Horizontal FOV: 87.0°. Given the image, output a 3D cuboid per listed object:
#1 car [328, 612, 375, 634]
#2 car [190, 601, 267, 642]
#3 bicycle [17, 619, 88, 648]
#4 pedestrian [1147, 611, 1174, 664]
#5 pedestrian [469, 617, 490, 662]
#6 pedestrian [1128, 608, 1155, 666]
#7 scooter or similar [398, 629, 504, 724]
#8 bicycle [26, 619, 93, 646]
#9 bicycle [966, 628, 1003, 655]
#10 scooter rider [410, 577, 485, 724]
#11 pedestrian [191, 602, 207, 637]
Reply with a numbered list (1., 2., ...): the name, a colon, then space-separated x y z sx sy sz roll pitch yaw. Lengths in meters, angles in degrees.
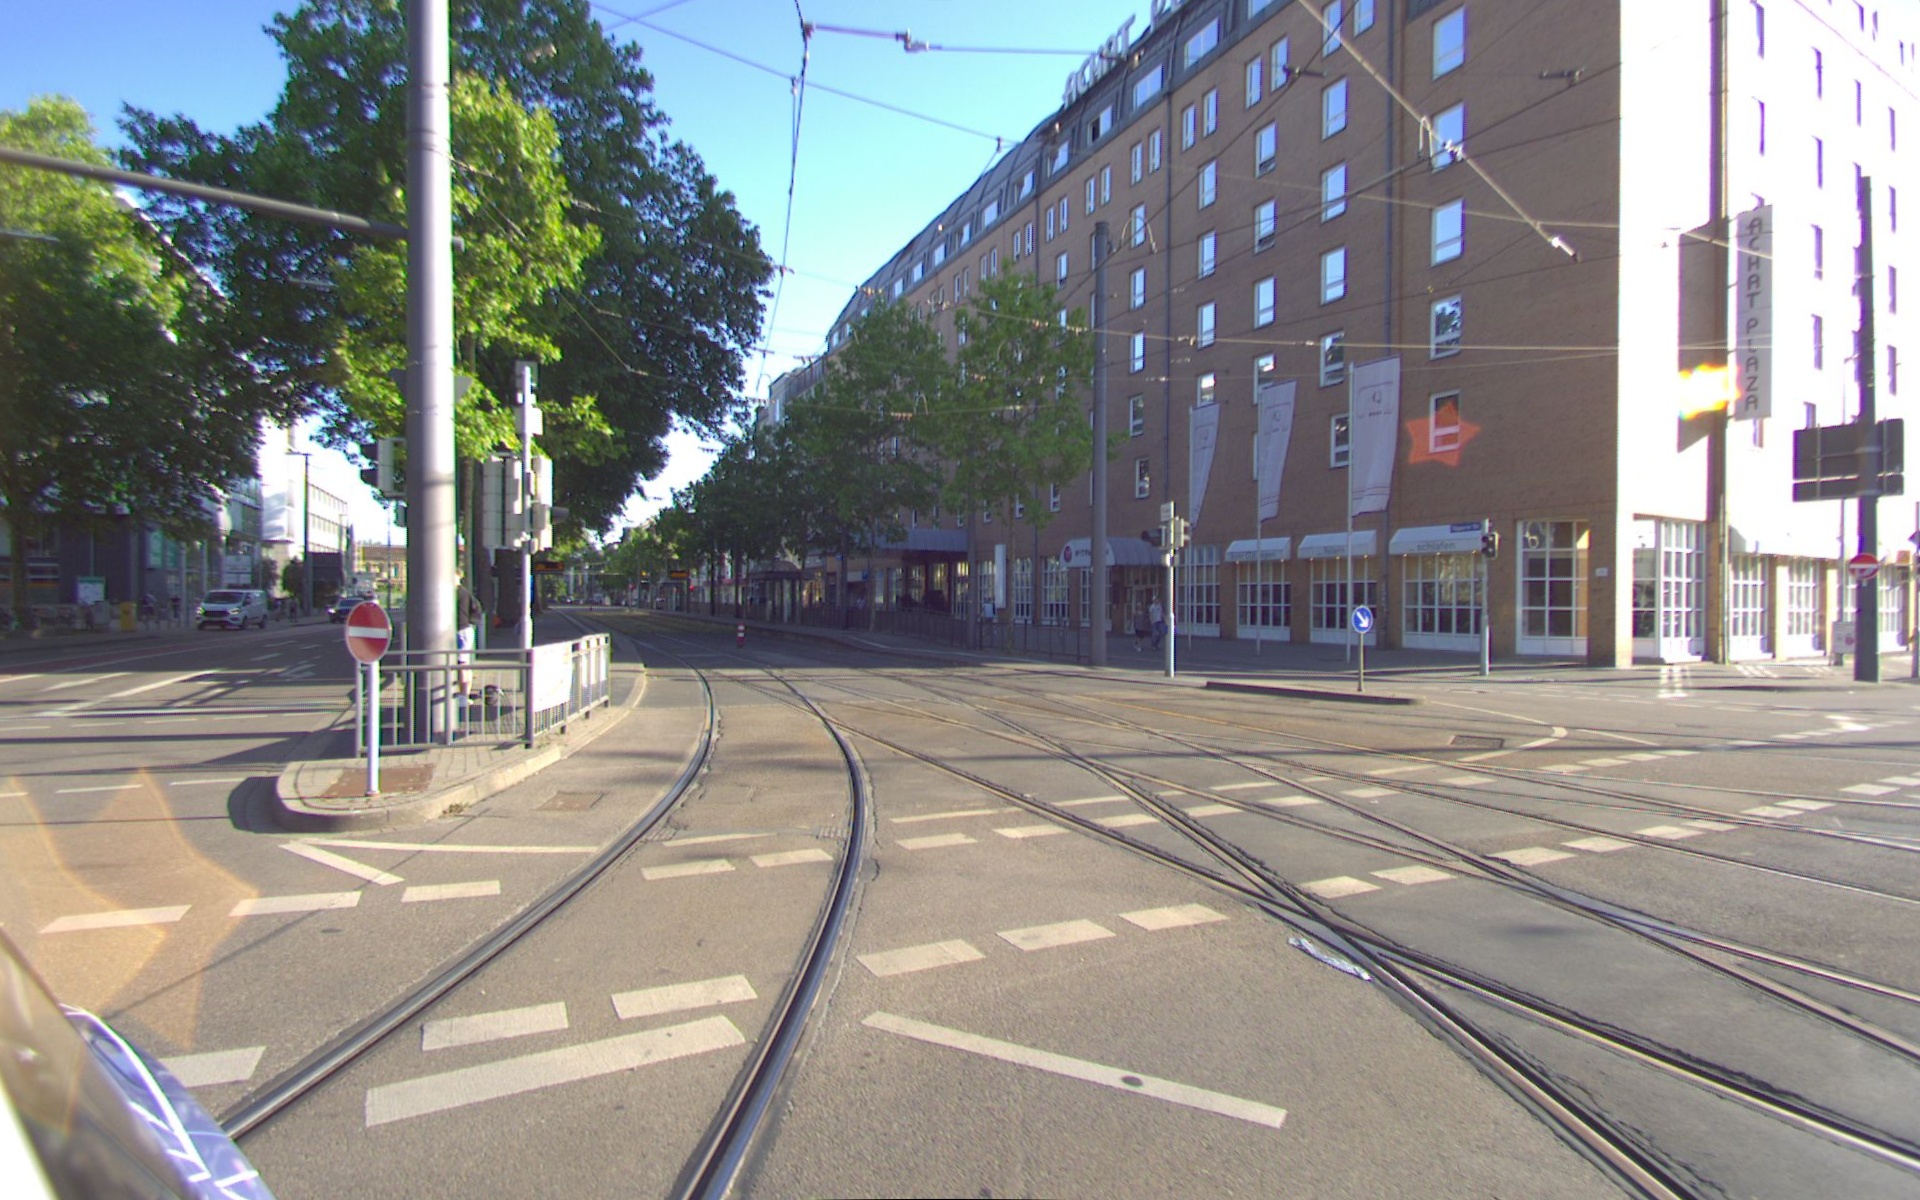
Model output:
1. car: -41.384 1.541 68.934 1.664 1.439 4.011 0 0 -14
2. car: -36.908 1.040 51.189 1.938 1.960 4.981 0 -1 -21
3. bicycle: -34.905 1.281 38.955 1.913 1.072 0.580 1 -1 -30
4. pedestrian: 6.720 1.258 33.951 0.637 1.755 0.706 0 -1 -11
5. pedestrian: -11.224 0.928 23.651 0.399 1.040 0.380 1 -1 -29
6. pedestrian: 6.059 1.220 33.800 0.637 1.909 0.747 1 -1 -11
7. scooter or similar: -6.565 0.978 13.096 1.140 1.188 0.457 1 -1 -17
8. bicycle: -36.278 1.299 40.811 1.913 1.072 0.580 1 -1 -30
9. bicycle: 0.995 1.703 41.579 0.603 1.026 2.161 1 -1 -26
10. scooter rider: -6.618 0.639 13.107 0.750 1.847 0.590 1 -1 -17
11. pedestrian: -39.154 0.995 52.076 0.552 1.812 0.595 1 -1 -26
